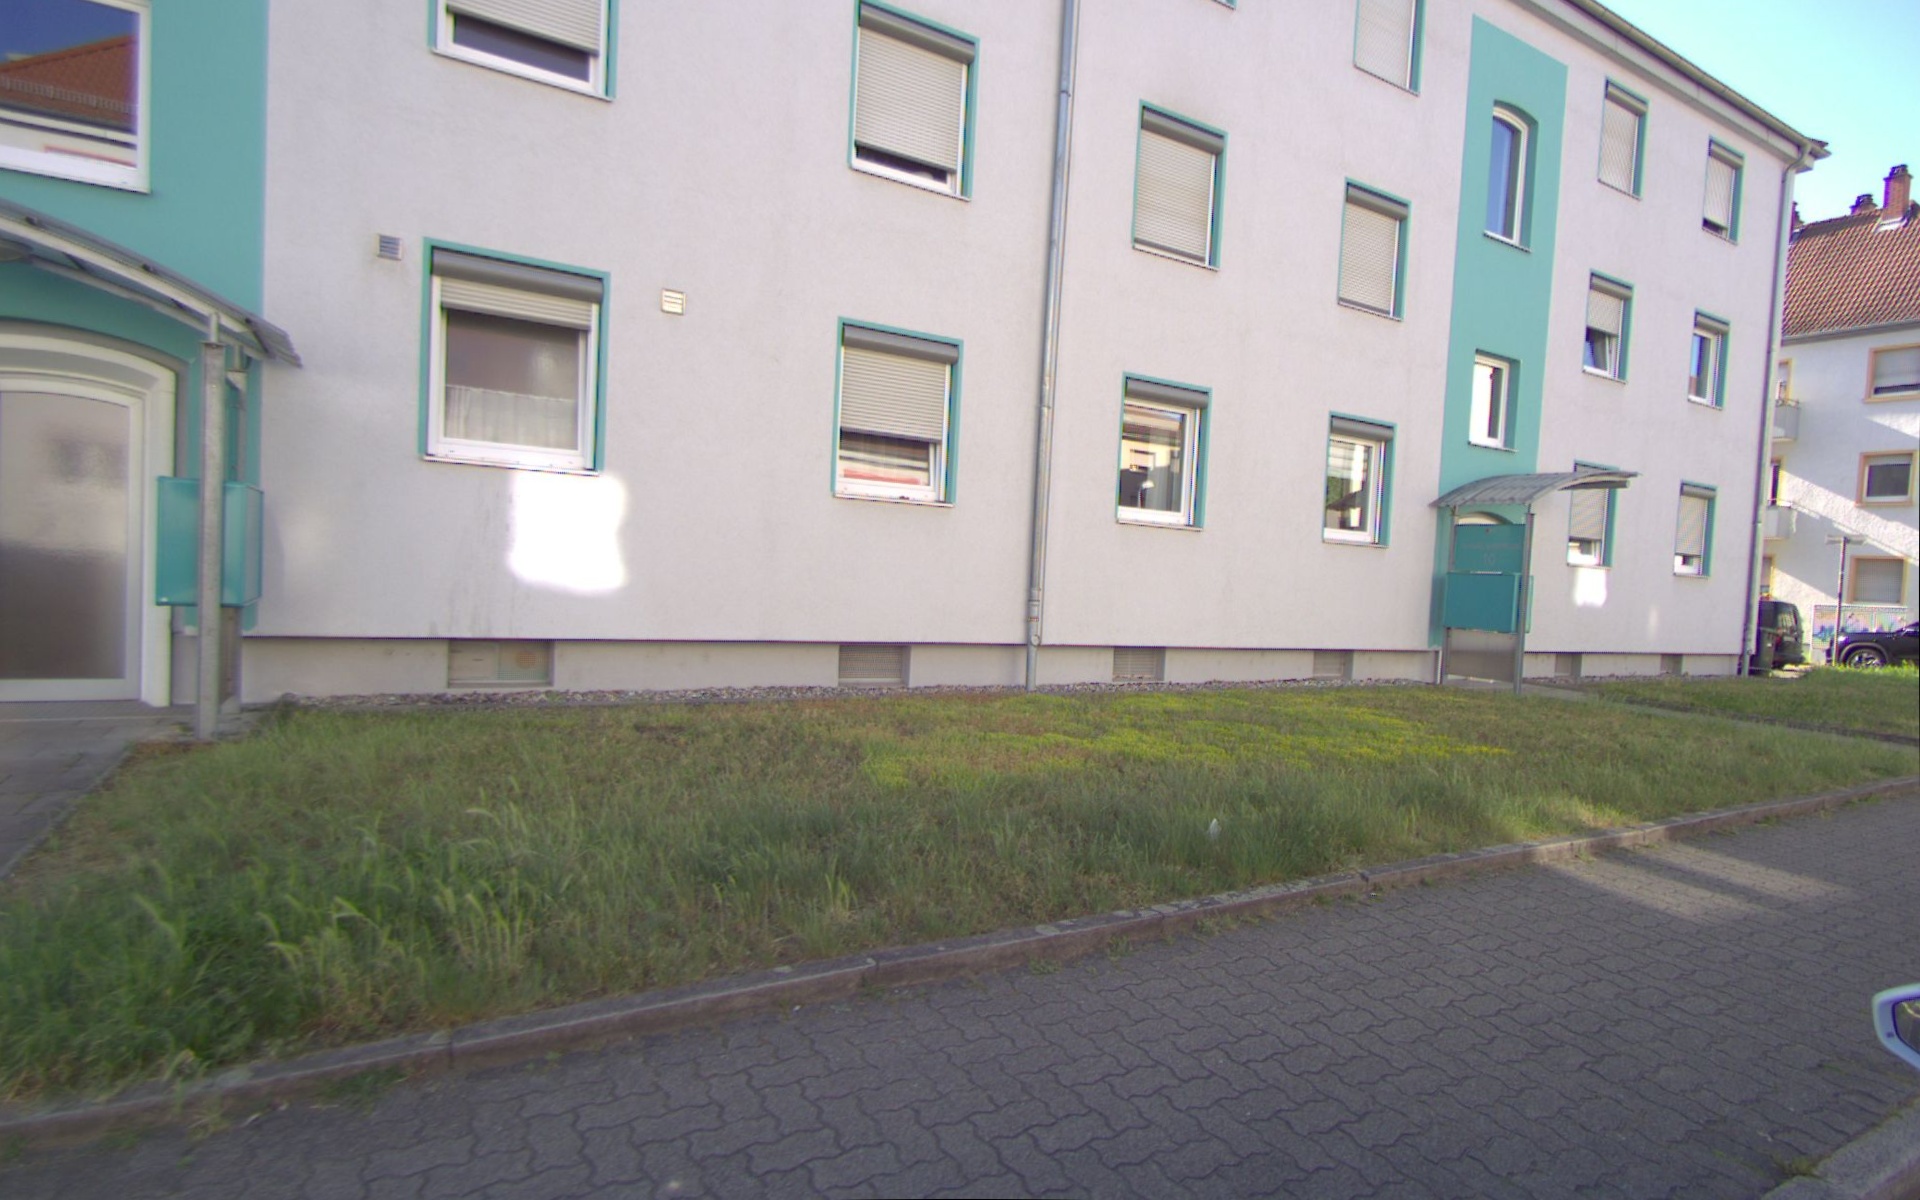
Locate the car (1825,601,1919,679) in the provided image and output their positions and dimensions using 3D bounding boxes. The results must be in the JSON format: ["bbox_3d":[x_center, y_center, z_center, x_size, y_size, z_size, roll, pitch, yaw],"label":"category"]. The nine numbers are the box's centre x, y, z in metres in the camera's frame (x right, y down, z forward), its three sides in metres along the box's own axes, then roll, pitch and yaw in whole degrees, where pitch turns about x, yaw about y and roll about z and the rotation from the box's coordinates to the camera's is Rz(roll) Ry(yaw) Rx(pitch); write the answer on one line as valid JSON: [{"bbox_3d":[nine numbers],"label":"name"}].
[{"bbox_3d":[22.656,1.003,22.603,1.700,1.685,4.466,4,1,-30],"label":"car"}]

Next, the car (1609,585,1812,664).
[{"bbox_3d":[20.082,0.608,27.056,1.700,1.812,3.971,4,1,-30],"label":"car"}]

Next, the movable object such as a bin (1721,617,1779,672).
[{"bbox_3d":[15.257,0.854,19.402,0.707,1.005,0.609,2,3,-32],"label":"movable object such as a bin"}]
